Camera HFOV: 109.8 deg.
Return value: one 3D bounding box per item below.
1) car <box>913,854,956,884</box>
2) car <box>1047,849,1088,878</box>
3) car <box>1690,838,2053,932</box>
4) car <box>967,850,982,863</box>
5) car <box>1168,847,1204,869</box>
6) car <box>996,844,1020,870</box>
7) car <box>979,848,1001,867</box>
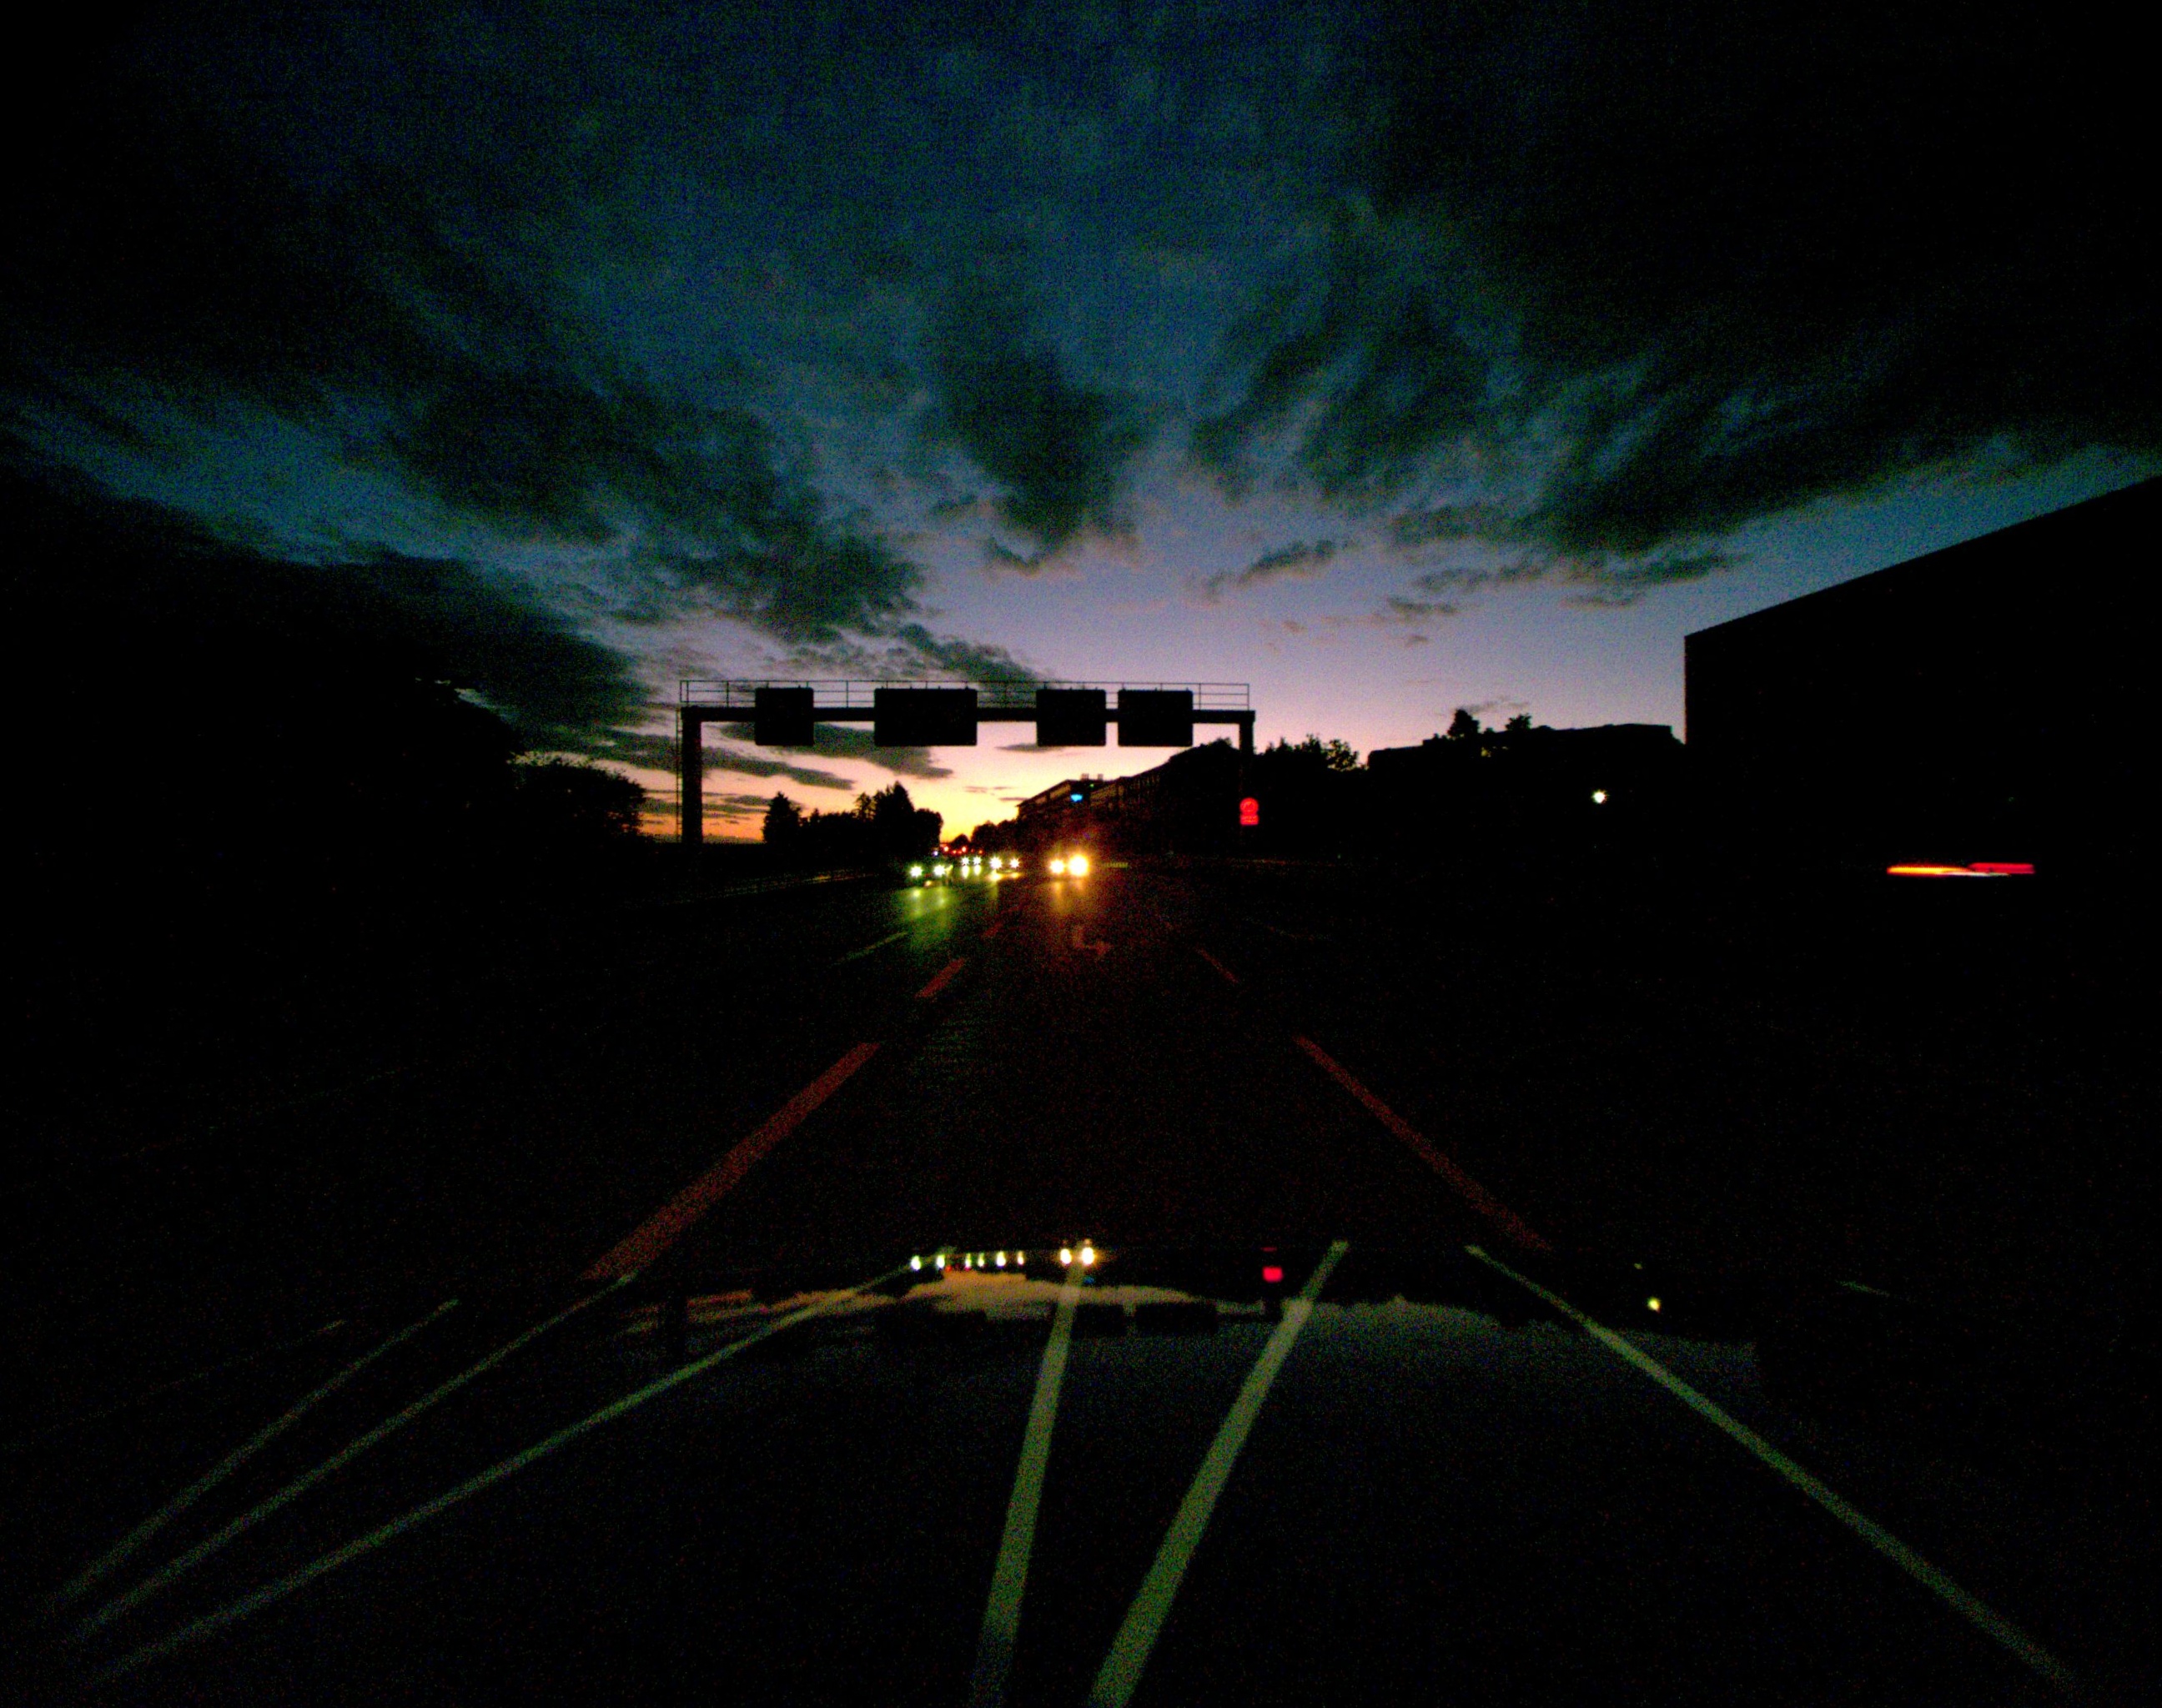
[{"bbox_3d":[-8.529,0.826,44.612,1.999,1.575,3.998,-3,1,-5],"label":"car"},{"bbox_3d":[-0.812,0.510,43.289,1.757,1.447,3.800,-3,1,-9],"label":"car"},{"bbox_3d":[14.215,0.482,14.177,1.999,1.417,4.531,-2,0,-1],"label":"car"},{"bbox_3d":[-13.849,0.370,98.572,1.857,1.612,3.997,-2,0,-9],"label":"car"},{"bbox_3d":[7.750,0.284,56.444,1.999,1.473,4.681,-1,1,0],"label":"car"},{"bbox_3d":[-6.161,0.218,64.235,1.862,2.002,3.997,-3,1,-5],"label":"car"},{"bbox_3d":[-9.090,0.333,75.571,1.834,1.740,3.847,-3,1,-10],"label":"car"}]
